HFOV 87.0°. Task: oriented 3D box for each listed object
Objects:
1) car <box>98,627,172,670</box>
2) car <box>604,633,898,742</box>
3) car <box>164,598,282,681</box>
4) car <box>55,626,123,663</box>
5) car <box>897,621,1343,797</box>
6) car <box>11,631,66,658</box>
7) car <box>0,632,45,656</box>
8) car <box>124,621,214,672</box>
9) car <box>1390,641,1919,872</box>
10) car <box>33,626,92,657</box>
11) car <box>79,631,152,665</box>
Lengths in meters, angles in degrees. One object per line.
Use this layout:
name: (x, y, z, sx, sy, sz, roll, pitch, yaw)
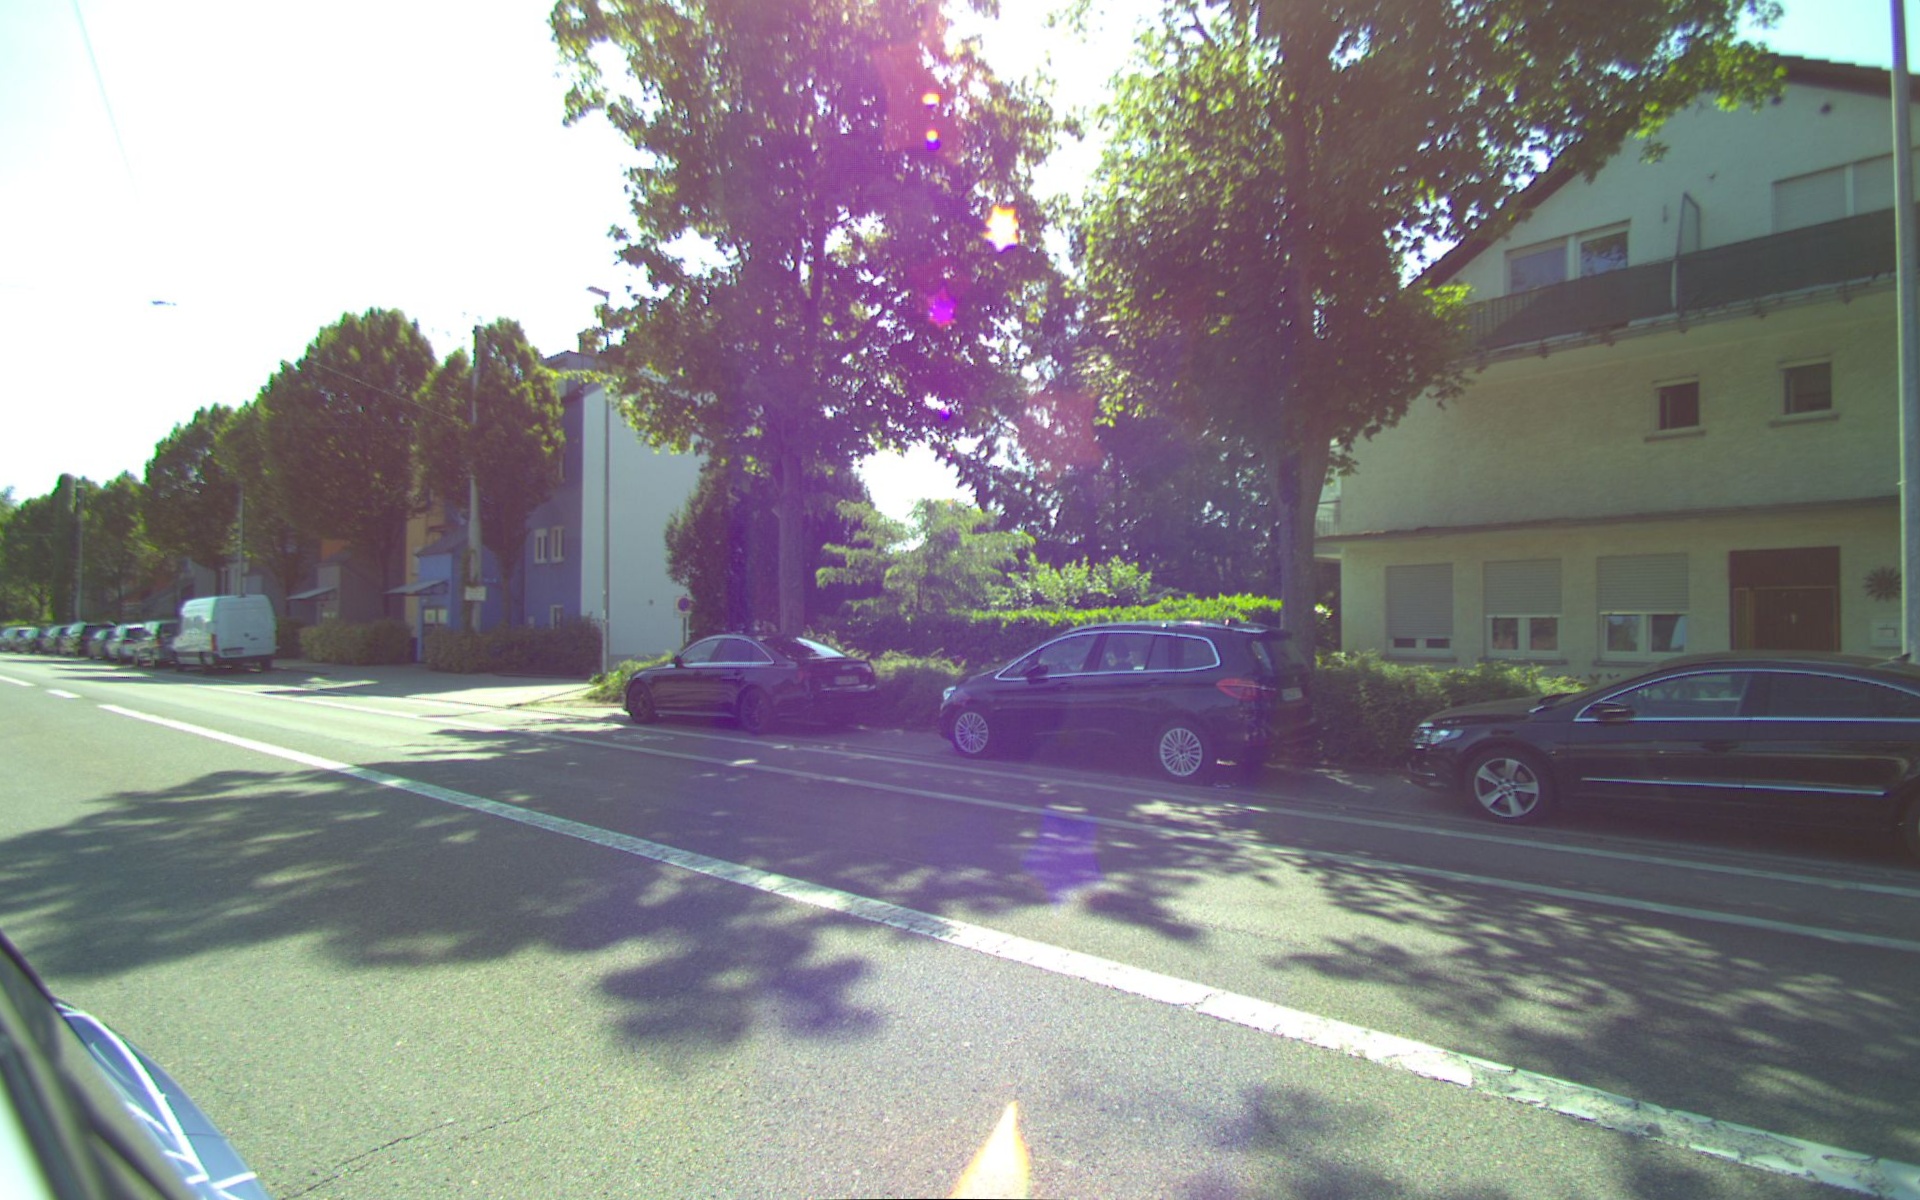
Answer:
car: (-37.163, 2.146, 45.545, 4.539, 1.715, 1.829, -1, 1, 42)
car: (-3.410, 1.263, 15.968, 4.903, 1.477, 1.822, -1, -2, 38)
car: (-26.739, 1.374, 36.583, 7.084, 2.697, 1.972, -2, 1, 42)
car: (-44.927, 2.257, 52.153, 4.343, 1.741, 1.812, -1, 0, 38)
car: (1.624, 1.073, 11.623, 4.891, 1.618, 1.743, -2, -2, 41)
car: (-53.944, 2.599, 59.232, 4.207, 1.481, 1.661, -1, -1, 38)
car: (-59.362, 2.738, 63.633, 4.826, 1.457, 1.662, -1, -1, 35)
car: (-32.808, 1.872, 41.906, 4.964, 1.879, 1.973, -2, 2, 41)
car: (6.016, 1.052, 7.670, 4.779, 1.390, 1.673, -2, -1, 41)
car: (-49.066, 2.249, 55.298, 4.159, 1.619, 1.661, -1, -1, 38)
car: (-40.865, 2.281, 48.938, 4.069, 1.466, 1.849, -1, 1, 38)
